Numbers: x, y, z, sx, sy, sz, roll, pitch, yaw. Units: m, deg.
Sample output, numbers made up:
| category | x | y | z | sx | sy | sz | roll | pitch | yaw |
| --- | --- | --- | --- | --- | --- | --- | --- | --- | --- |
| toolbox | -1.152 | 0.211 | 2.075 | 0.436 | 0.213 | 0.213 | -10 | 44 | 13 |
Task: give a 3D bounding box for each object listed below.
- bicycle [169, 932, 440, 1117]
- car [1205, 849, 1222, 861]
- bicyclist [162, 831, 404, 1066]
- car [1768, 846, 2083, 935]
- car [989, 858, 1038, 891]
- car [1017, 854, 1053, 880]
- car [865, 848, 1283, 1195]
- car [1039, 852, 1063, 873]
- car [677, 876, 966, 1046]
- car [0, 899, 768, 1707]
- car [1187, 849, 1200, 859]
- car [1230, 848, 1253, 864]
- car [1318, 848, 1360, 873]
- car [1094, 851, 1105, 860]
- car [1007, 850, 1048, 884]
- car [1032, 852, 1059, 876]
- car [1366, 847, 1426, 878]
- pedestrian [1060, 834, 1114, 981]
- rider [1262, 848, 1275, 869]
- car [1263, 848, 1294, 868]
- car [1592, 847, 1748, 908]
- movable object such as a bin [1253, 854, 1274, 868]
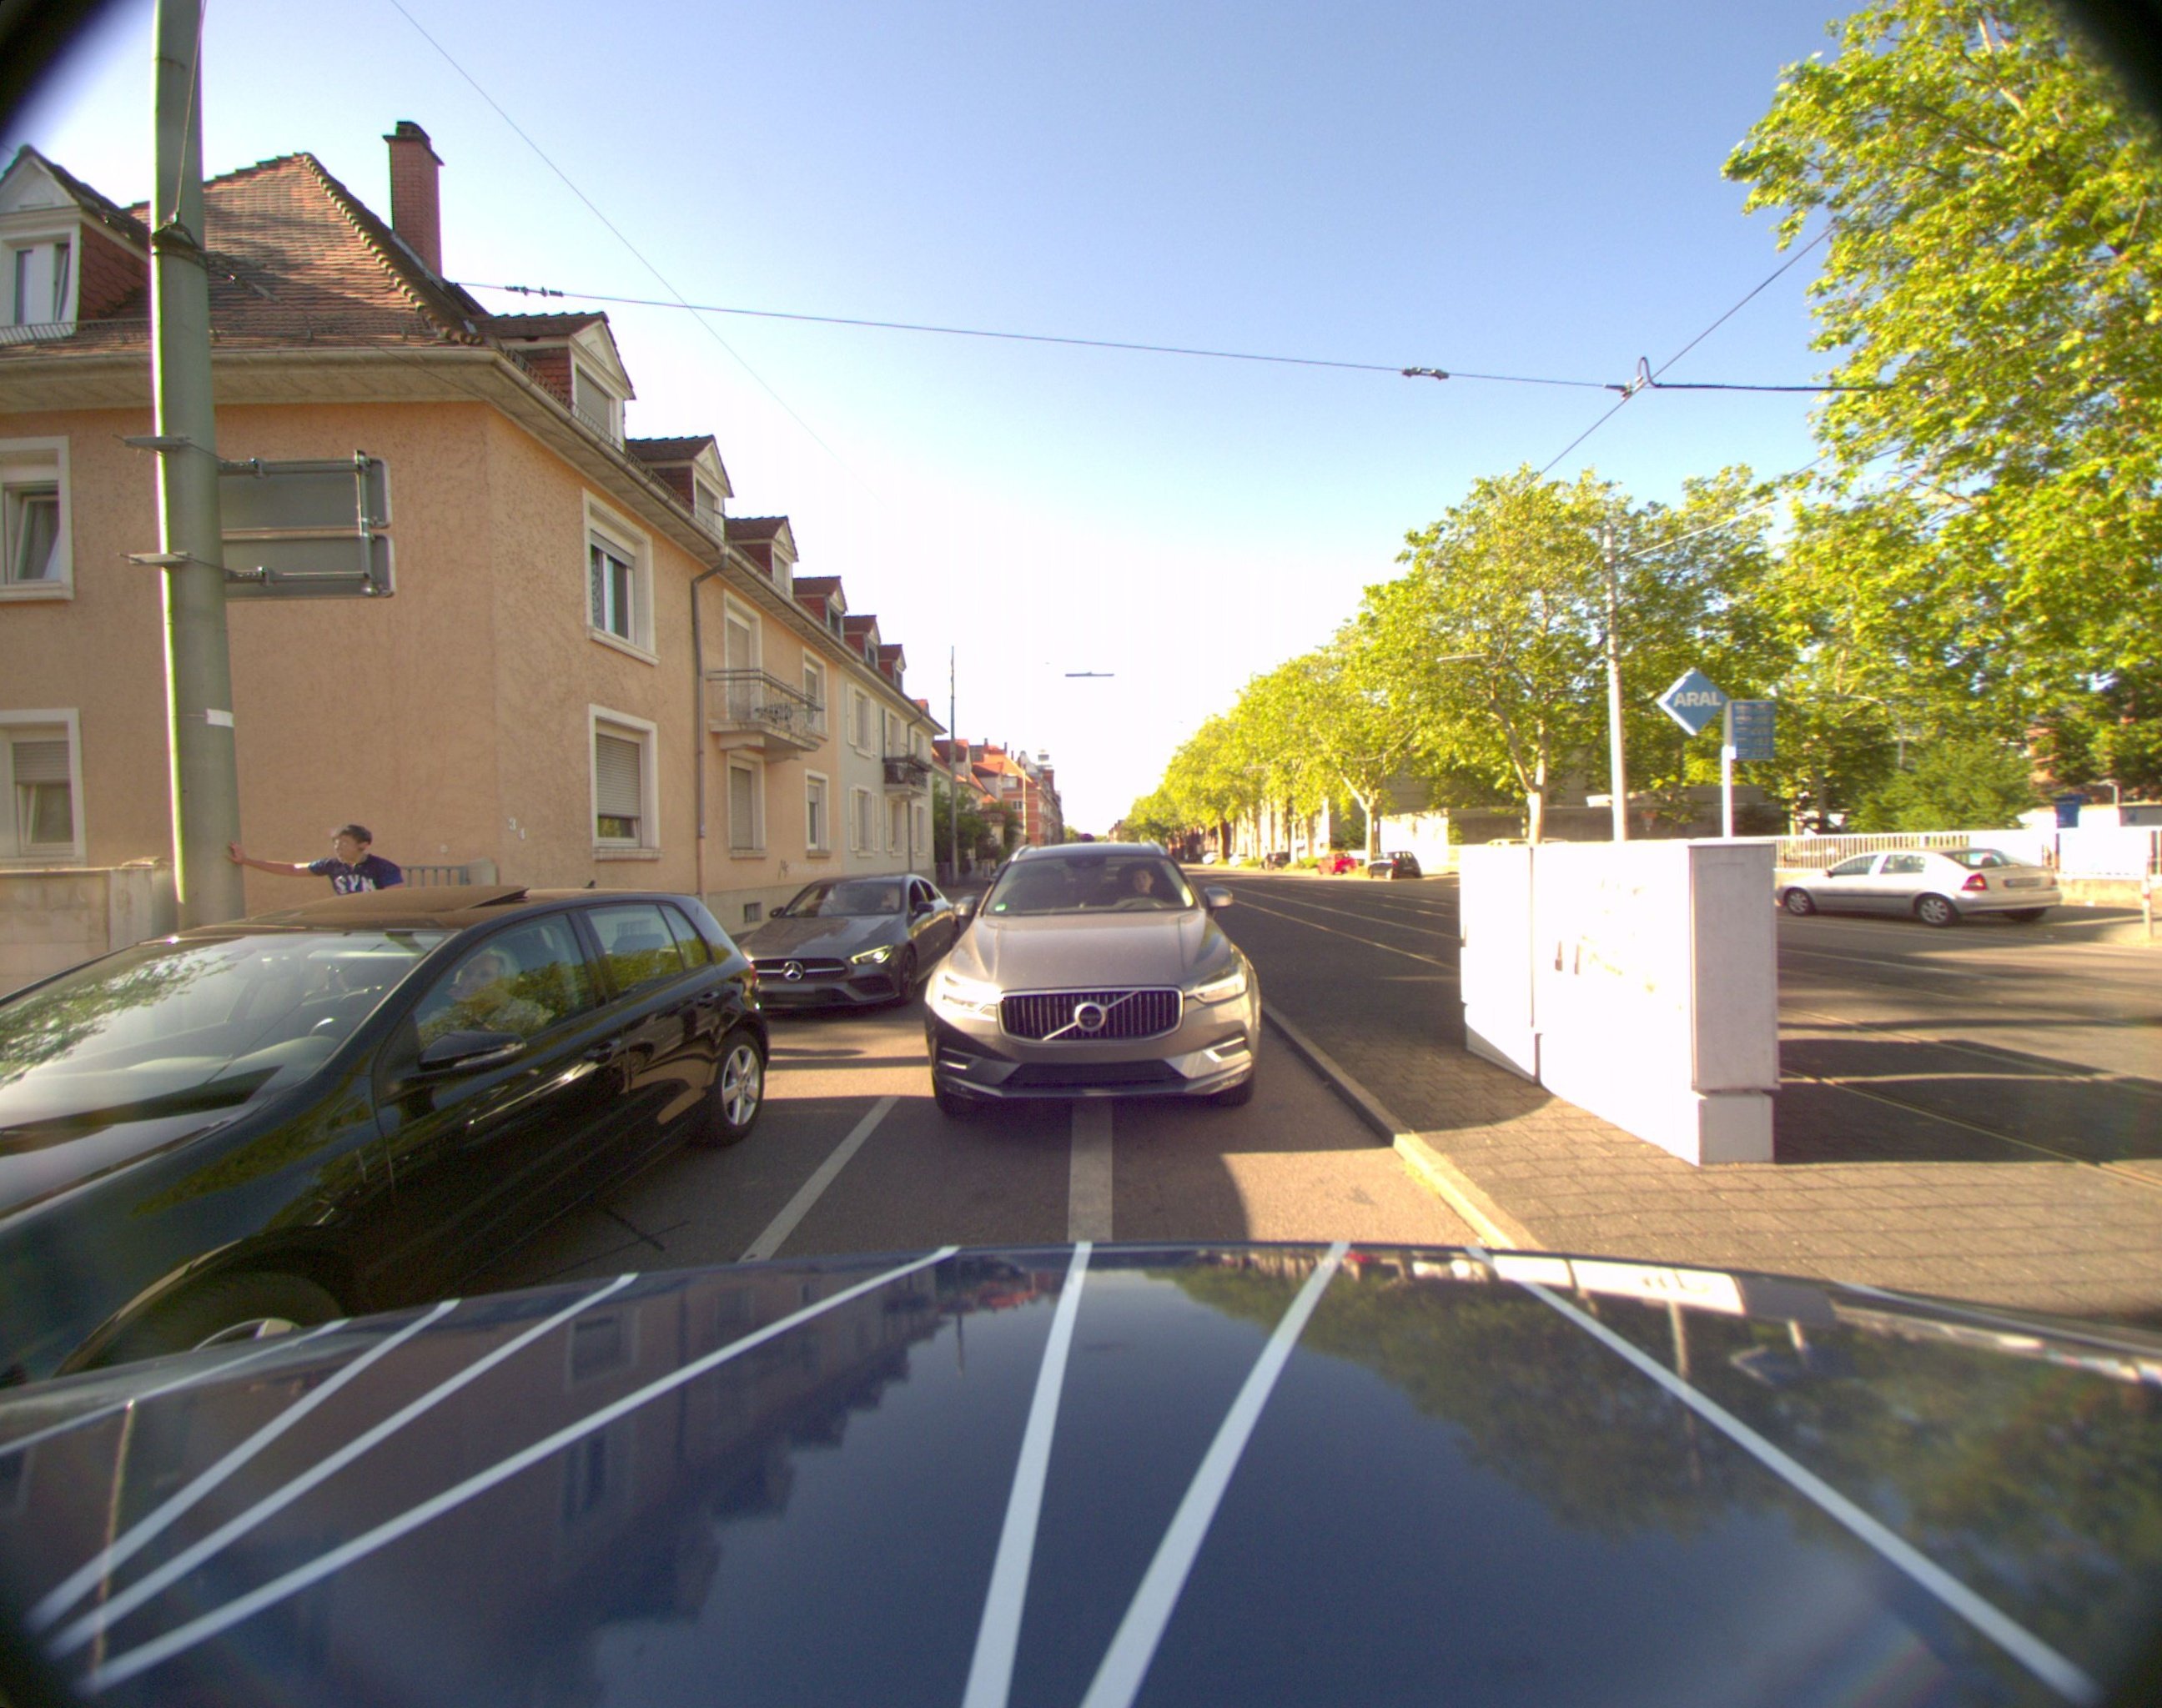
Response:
| category | x | y | z | sx | sy | sz | roll | pitch | yaw |
| --- | --- | --- | --- | --- | --- | --- | --- | --- | --- |
| bicycle | -5.911 | 1.239 | 5.931 | 0.556 | 1.069 | 1.624 | 2 | 0 | -7 |
| car | 17.573 | 0.089 | 100.679 | 1.661 | 1.452 | 3.730 | -4 | 1 | 3 |
| bicyclist | -6.126 | 0.697 | 5.895 | 1.021 | 1.684 | 0.729 | 2 | 0 | -7 |
| car | 16.196 | 0.625 | 14.950 | 1.687 | 1.358 | 3.989 | -6 | 0 | 1 |
| car | -3.234 | 0.956 | 37.138 | 1.825 | 1.422 | 4.334 | -2 | 1 | 1 |
| car | -2.792 | 0.790 | 47.057 | 1.825 | 1.424 | 4.334 | -2 | 1 | 1 |
| car | 0.118 | 0.794 | 5.777 | 1.924 | 1.579 | 4.387 | -2 | 1 | 4 |
| car | -2.597 | 0.685 | 67.278 | 1.825 | 1.701 | 4.334 | -2 | 1 | 1 |
| car | -2.714 | 1.044 | 9.198 | 1.825 | 1.422 | 4.491 | -2 | -1 | 1 |
| car | -2.805 | 1.040 | 2.600 | 1.717 | 1.430 | 3.990 | -2 | 1 | 1 |
| car | 18.553 | 0.045 | 125.555 | 1.661 | 1.452 | 3.730 | -4 | 1 | 3 |
| car | 17.618 | 0.235 | 83.465 | 1.754 | 1.532 | 3.878 | -4 | 1 | 3 |
| car | 16.941 | 0.404 | 50.070 | 1.661 | 1.486 | 3.377 | -4 | 1 | 3 |
| car | 3.410 | 0.263 | 142.069 | 1.851 | 1.640 | 3.999 | -2 | 1 | 1 |
| car | -2.910 | 0.681 | 42.393 | 1.825 | 1.701 | 4.334 | -2 | 1 | 1 |
| car | -2.785 | 0.764 | 60.912 | 1.825 | 1.701 | 4.334 | -2 | 1 | 1 |
| car | 16.833 | 0.440 | 40.807 | 1.723 | 1.436 | 3.769 | -4 | 1 | 3 |
| pedestrian | 0.077 | 0.671 | 9.819 | 0.609 | 1.832 | 0.599 | -2 | 1 | 1 |
| rider | 14.867 | 0.324 | 60.181 | 0.725 | 1.639 | 1.106 | -2 | 1 | -1 |
| car | 17.086 | 0.322 | 65.961 | 1.754 | 1.582 | 3.878 | -4 | 1 | 3 |
| car | 16.357 | 0.595 | 21.350 | 1.619 | 1.436 | 3.606 | -4 | 1 | 3 |
| movable object such as a bin | 14.765 | 0.541 | 61.512 | 1.178 | 1.097 | 1.834 | -2 | 1 | -1 |
